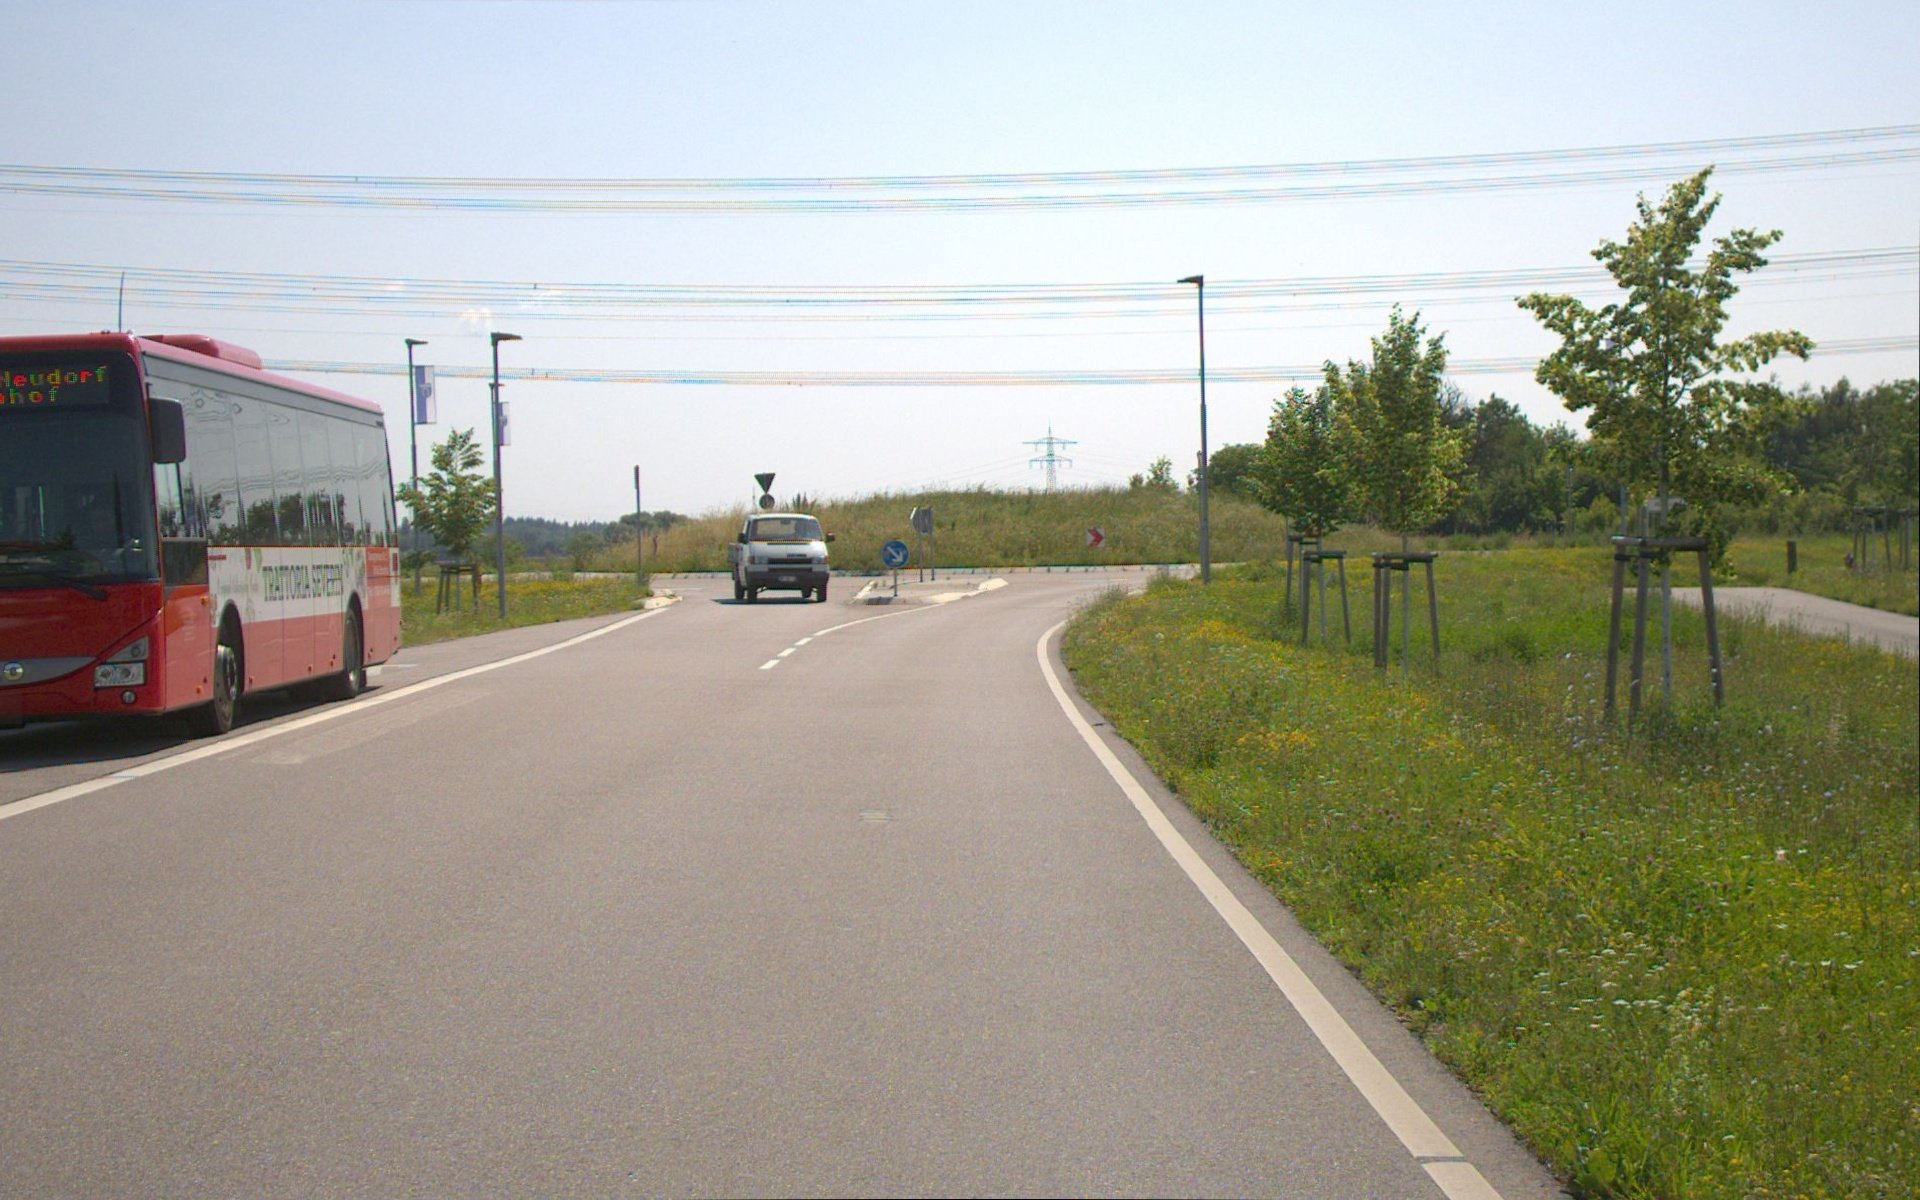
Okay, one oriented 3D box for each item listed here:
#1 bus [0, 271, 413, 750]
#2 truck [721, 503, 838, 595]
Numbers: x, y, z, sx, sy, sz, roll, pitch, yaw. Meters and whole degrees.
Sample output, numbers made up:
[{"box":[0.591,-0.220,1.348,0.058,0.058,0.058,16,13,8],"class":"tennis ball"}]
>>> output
[{"box":[-7.061,-0.681,30.014,2.794,3.275,12.230,-3,1,-2],"class":"bus"},{"box":[-4.112,-1.136,77.605,1.951,1.978,5.646,0,1,-10],"class":"truck"}]
